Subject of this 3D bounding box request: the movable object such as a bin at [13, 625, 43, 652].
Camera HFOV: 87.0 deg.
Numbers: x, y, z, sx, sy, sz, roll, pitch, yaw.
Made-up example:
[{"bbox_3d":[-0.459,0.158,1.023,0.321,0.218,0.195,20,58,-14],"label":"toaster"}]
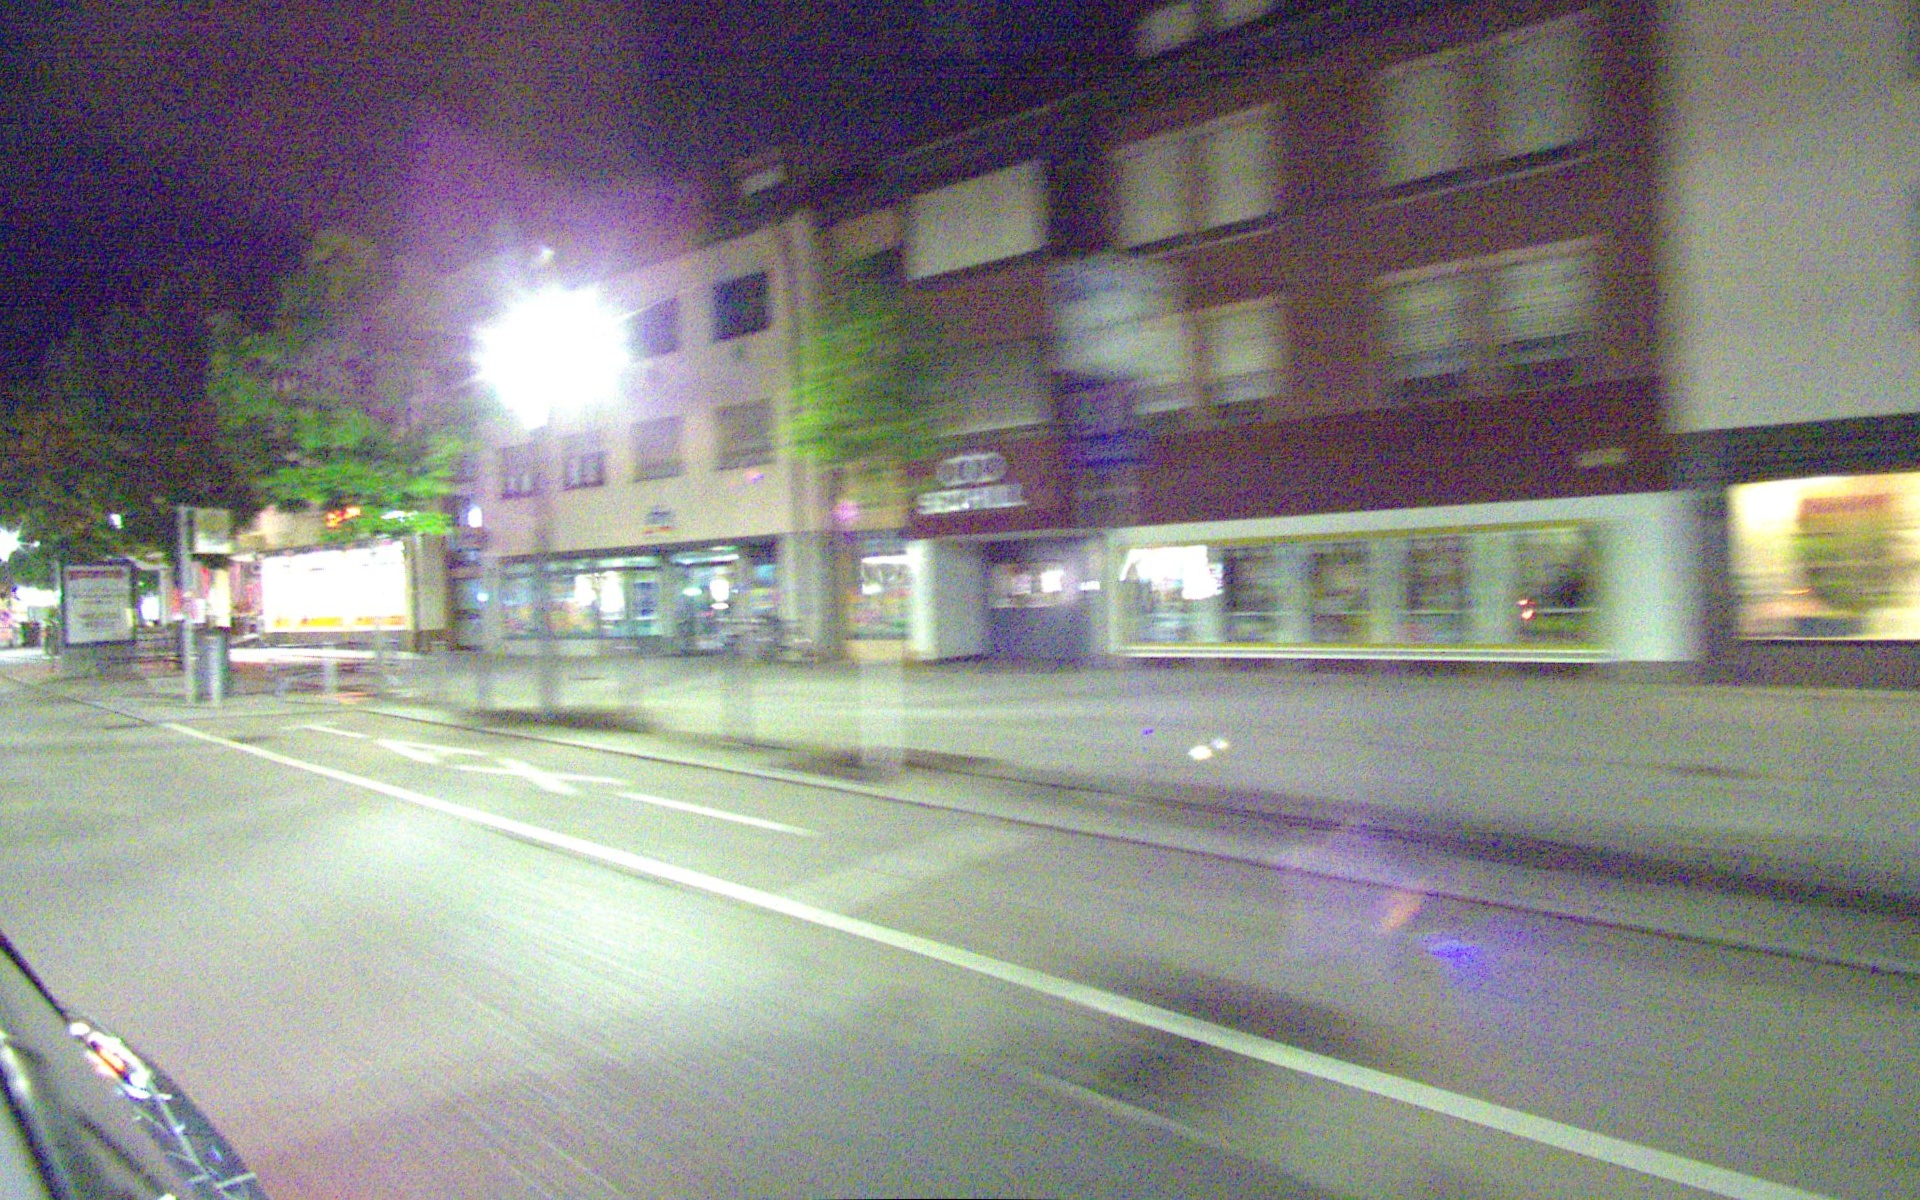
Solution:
[{"bbox_3d":[-38.955,1.596,42.304,0.789,1.073,0.741,0,0,31],"label":"movable object such as a bin"}]
